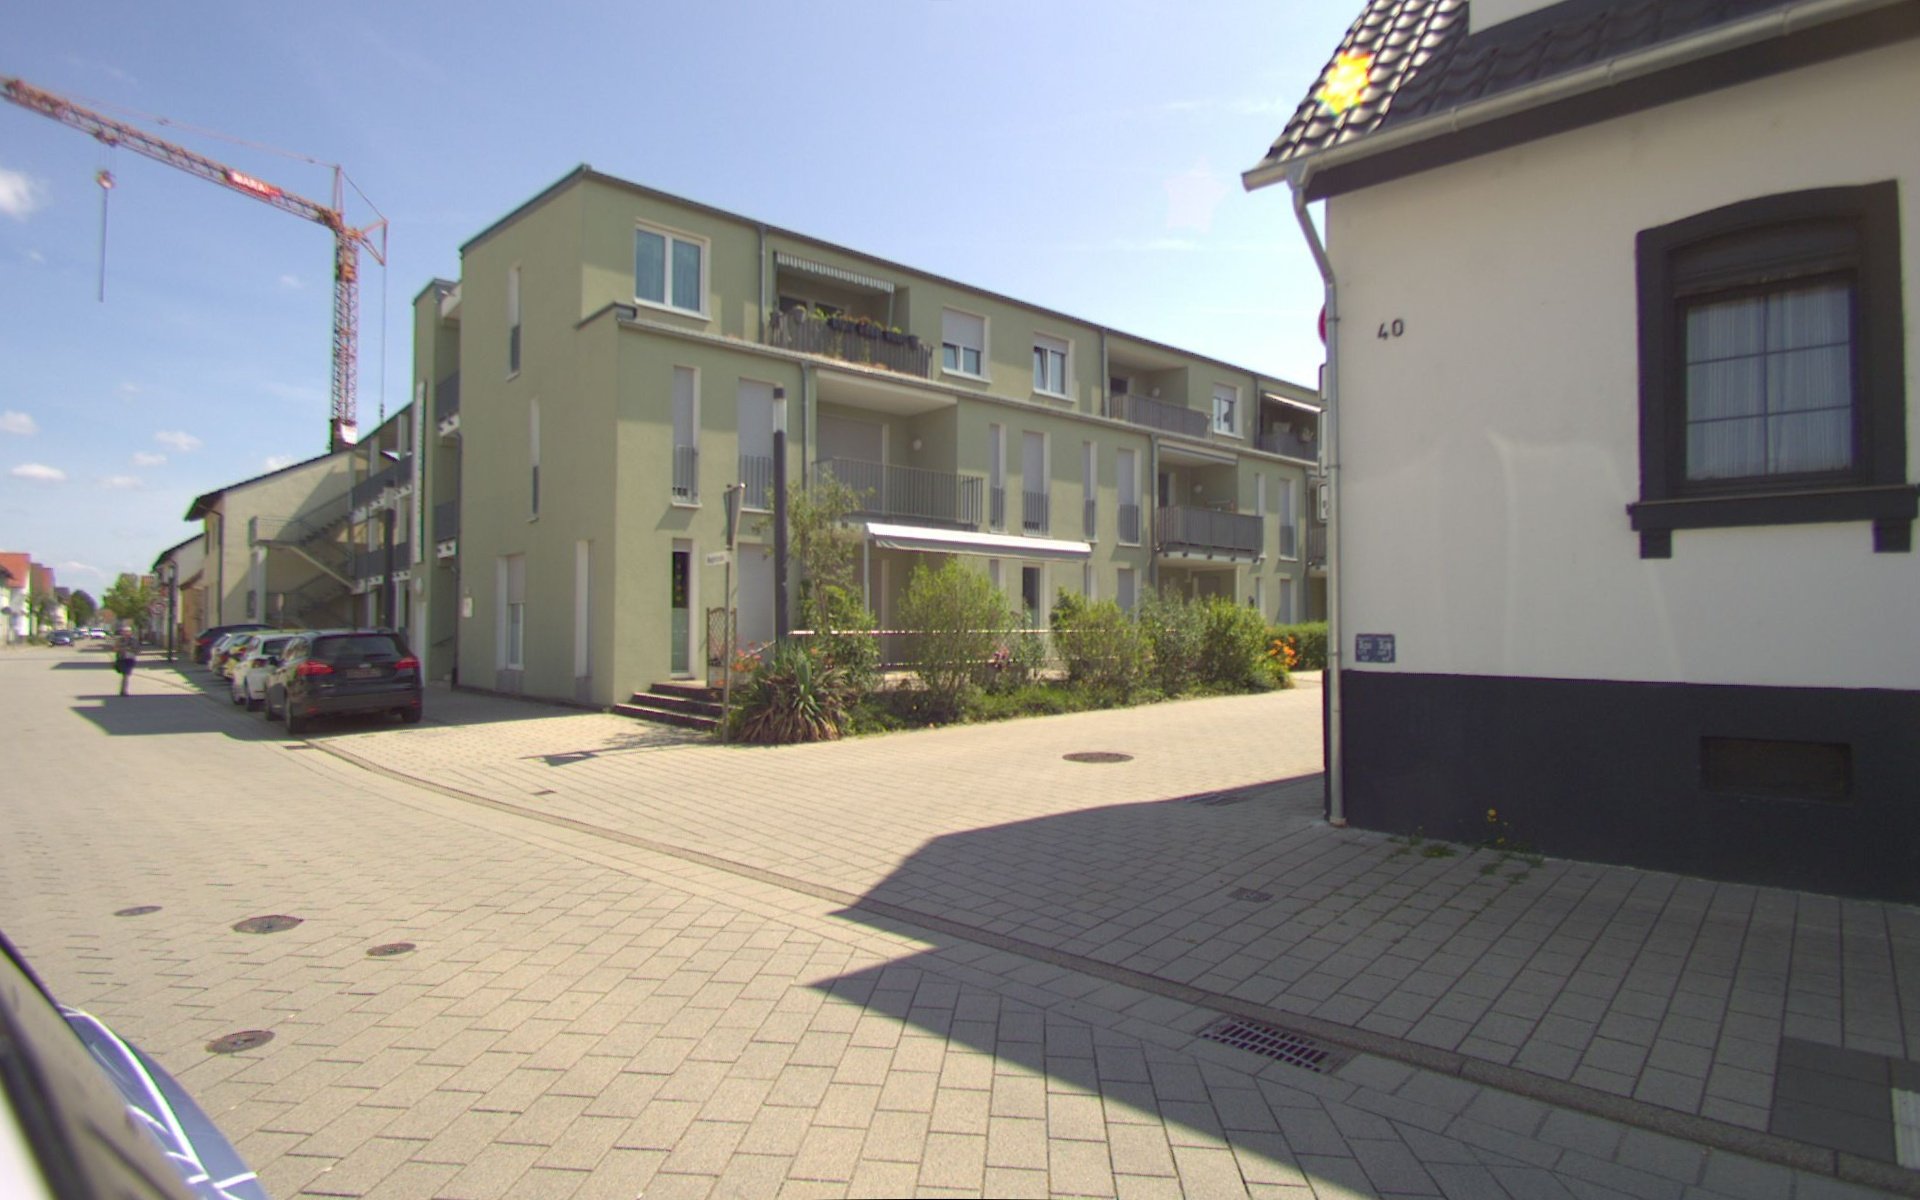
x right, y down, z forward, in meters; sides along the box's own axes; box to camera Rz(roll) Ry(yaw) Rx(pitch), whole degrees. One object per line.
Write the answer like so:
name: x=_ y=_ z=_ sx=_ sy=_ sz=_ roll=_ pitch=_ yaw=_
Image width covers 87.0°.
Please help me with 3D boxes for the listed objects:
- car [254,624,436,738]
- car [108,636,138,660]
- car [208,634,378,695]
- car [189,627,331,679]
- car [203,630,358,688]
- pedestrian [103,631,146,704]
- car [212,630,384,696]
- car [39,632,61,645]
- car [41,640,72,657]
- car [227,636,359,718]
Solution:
car: x=-9.809 y=1.170 z=15.990 sx=1.791 sy=1.502 sz=4.284 roll=-1 pitch=-1 yaw=-40
car: x=-59.770 y=3.415 z=72.283 sx=1.552 sy=1.573 sz=2.827 roll=-2 pitch=0 yaw=-38
car: x=-19.438 y=1.815 z=29.577 sx=3.938 sy=1.452 sz=1.694 roll=-2 pitch=0 yaw=-41
car: x=-25.954 y=1.926 z=37.578 sx=4.166 sy=1.671 sz=1.787 roll=-1 pitch=-1 yaw=-40
car: x=-21.211 y=1.803 z=31.634 sx=3.852 sy=1.514 sz=1.754 roll=-2 pitch=0 yaw=-39
pedestrian: x=-19.567 y=1.556 z=23.720 sx=0.737 sy=1.652 sz=0.733 roll=-1 pitch=-1 yaw=-38
car: x=-18.069 y=1.668 z=27.725 sx=1.673 sy=1.537 sz=3.651 roll=-3 pitch=-1 yaw=44
car: x=-102.713 y=4.332 z=114.233 sx=1.700 sy=1.440 sz=3.825 roll=1 pitch=-3 yaw=-39
car: x=-83.532 y=4.438 z=93.605 sx=1.928 sy=1.542 sz=4.007 roll=2 pitch=-3 yaw=-39
car: x=-13.417 y=1.460 z=20.261 sx=1.736 sy=1.421 sz=3.883 roll=-1 pitch=-1 yaw=-40
